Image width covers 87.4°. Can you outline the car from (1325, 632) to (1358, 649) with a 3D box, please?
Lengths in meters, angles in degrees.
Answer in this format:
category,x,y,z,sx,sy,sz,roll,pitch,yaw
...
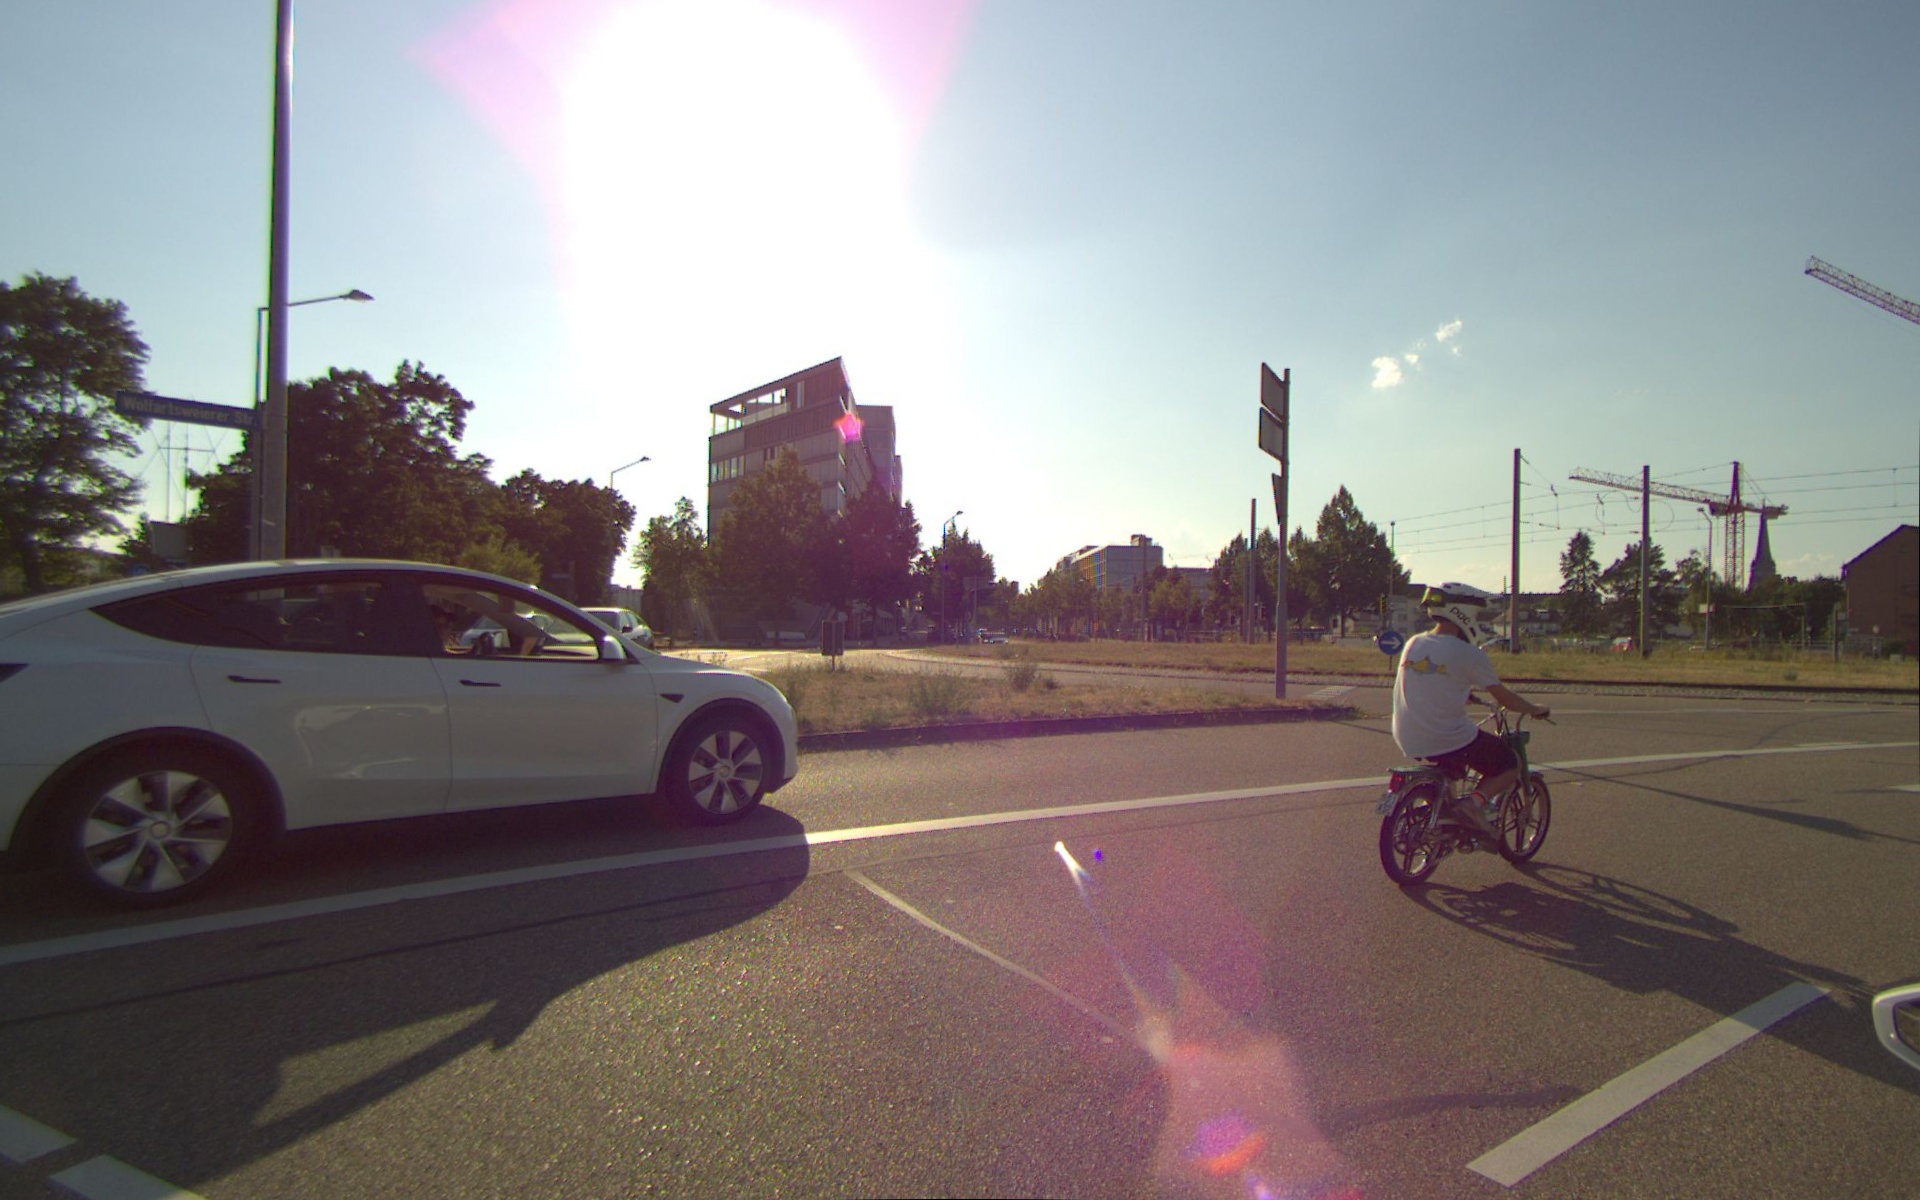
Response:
category,x,y,z,sx,sy,sz,roll,pitch,yaw
car,47.523,4.983,125.142,1.965,2.040,3.992,1,-1,-11

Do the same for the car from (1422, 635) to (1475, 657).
category,x,y,z,sx,sy,sz,roll,pitch,yaw
car,44.239,4.139,90.976,3.919,1.840,2.001,1,-1,13

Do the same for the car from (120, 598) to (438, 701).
category,x,y,z,sx,sy,sz,roll,pitch,yaw
car,-11.507,0.807,17.458,1.619,1.532,4.647,0,-2,15

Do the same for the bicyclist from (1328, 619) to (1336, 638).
category,x,y,z,sx,sy,sz,roll,pitch,yaw
bicyclist,32.270,2.480,87.216,0.597,1.694,0.478,1,-1,24

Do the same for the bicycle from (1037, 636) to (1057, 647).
category,x,y,z,sx,sy,sz,roll,pitch,yaw
bicycle,7.549,3.596,87.075,1.593,0.871,0.543,1,-1,-17

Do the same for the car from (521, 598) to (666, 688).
category,x,y,z,sx,sy,sz,roll,pitch,yaw
car,-7.656,0.872,21.417,1.742,1.695,4.198,1,-1,-3

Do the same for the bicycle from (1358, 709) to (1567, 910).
category,x,y,z,sx,sy,sz,roll,pitch,yaw
bicycle,2.959,1.130,5.813,1.843,0.887,0.473,3,-2,-43

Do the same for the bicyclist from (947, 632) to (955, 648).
category,x,y,z,sx,sy,sz,roll,pitch,yaw
bicyclist,-0.727,3.294,82.577,0.641,1.343,0.519,1,-1,-2

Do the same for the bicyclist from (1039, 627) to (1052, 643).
category,x,y,z,sx,sy,sz,roll,pitch,yaw
bicyclist,7.436,3.049,87.057,0.940,1.375,0.692,1,-1,-13

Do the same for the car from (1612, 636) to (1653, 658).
category,x,y,z,sx,sy,sz,roll,pitch,yaw
car,61.549,4.285,92.014,1.887,1.878,4.002,1,-1,15

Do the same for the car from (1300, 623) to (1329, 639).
category,x,y,z,sx,sy,sz,roll,pitch,yaw
car,47.274,4.172,134.036,1.965,2.040,3.992,1,-1,-11

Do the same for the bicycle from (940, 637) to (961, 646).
category,x,y,z,sx,sy,sz,roll,pitch,yaw
bicycle,-0.753,3.428,82.567,1.688,0.754,0.480,1,-1,-3

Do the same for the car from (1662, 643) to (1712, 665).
category,x,y,z,sx,sy,sz,roll,pitch,yaw
car,73.917,5.463,102.105,1.650,2.040,3.795,2,-2,-27

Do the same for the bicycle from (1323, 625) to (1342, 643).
category,x,y,z,sx,sy,sz,roll,pitch,yaw
bicycle,32.314,2.945,87.180,1.515,1.493,0.479,0,-1,24

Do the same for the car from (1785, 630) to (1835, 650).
category,x,y,z,sx,sy,sz,roll,pitch,yaw
car,90.737,4.261,107.268,1.650,2.040,3.795,2,-2,-27

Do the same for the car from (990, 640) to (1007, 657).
category,x,y,z,sx,sy,sz,roll,pitch,yaw
car,3.548,4.452,93.041,1.455,1.495,3.300,1,-1,1

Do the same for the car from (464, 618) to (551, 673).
category,x,y,z,sx,sy,sz,roll,pitch,yaw
car,-13.609,1.340,30.414,1.628,1.545,3.933,1,-1,-13

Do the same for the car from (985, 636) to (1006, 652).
category,x,y,z,sx,sy,sz,roll,pitch,yaw
car,3.535,4.366,99.947,1.960,1.495,4.001,1,-1,1

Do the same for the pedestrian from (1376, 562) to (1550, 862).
category,x,y,z,sx,sy,sz,roll,pitch,yaw
pedestrian,2.855,0.585,5.689,0.649,1.539,0.849,0,-1,45

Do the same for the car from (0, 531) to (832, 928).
category,x,y,z,sx,sy,sz,roll,pitch,yaw
car,-3.174,0.569,5.991,4.645,1.620,1.718,2,0,-44
